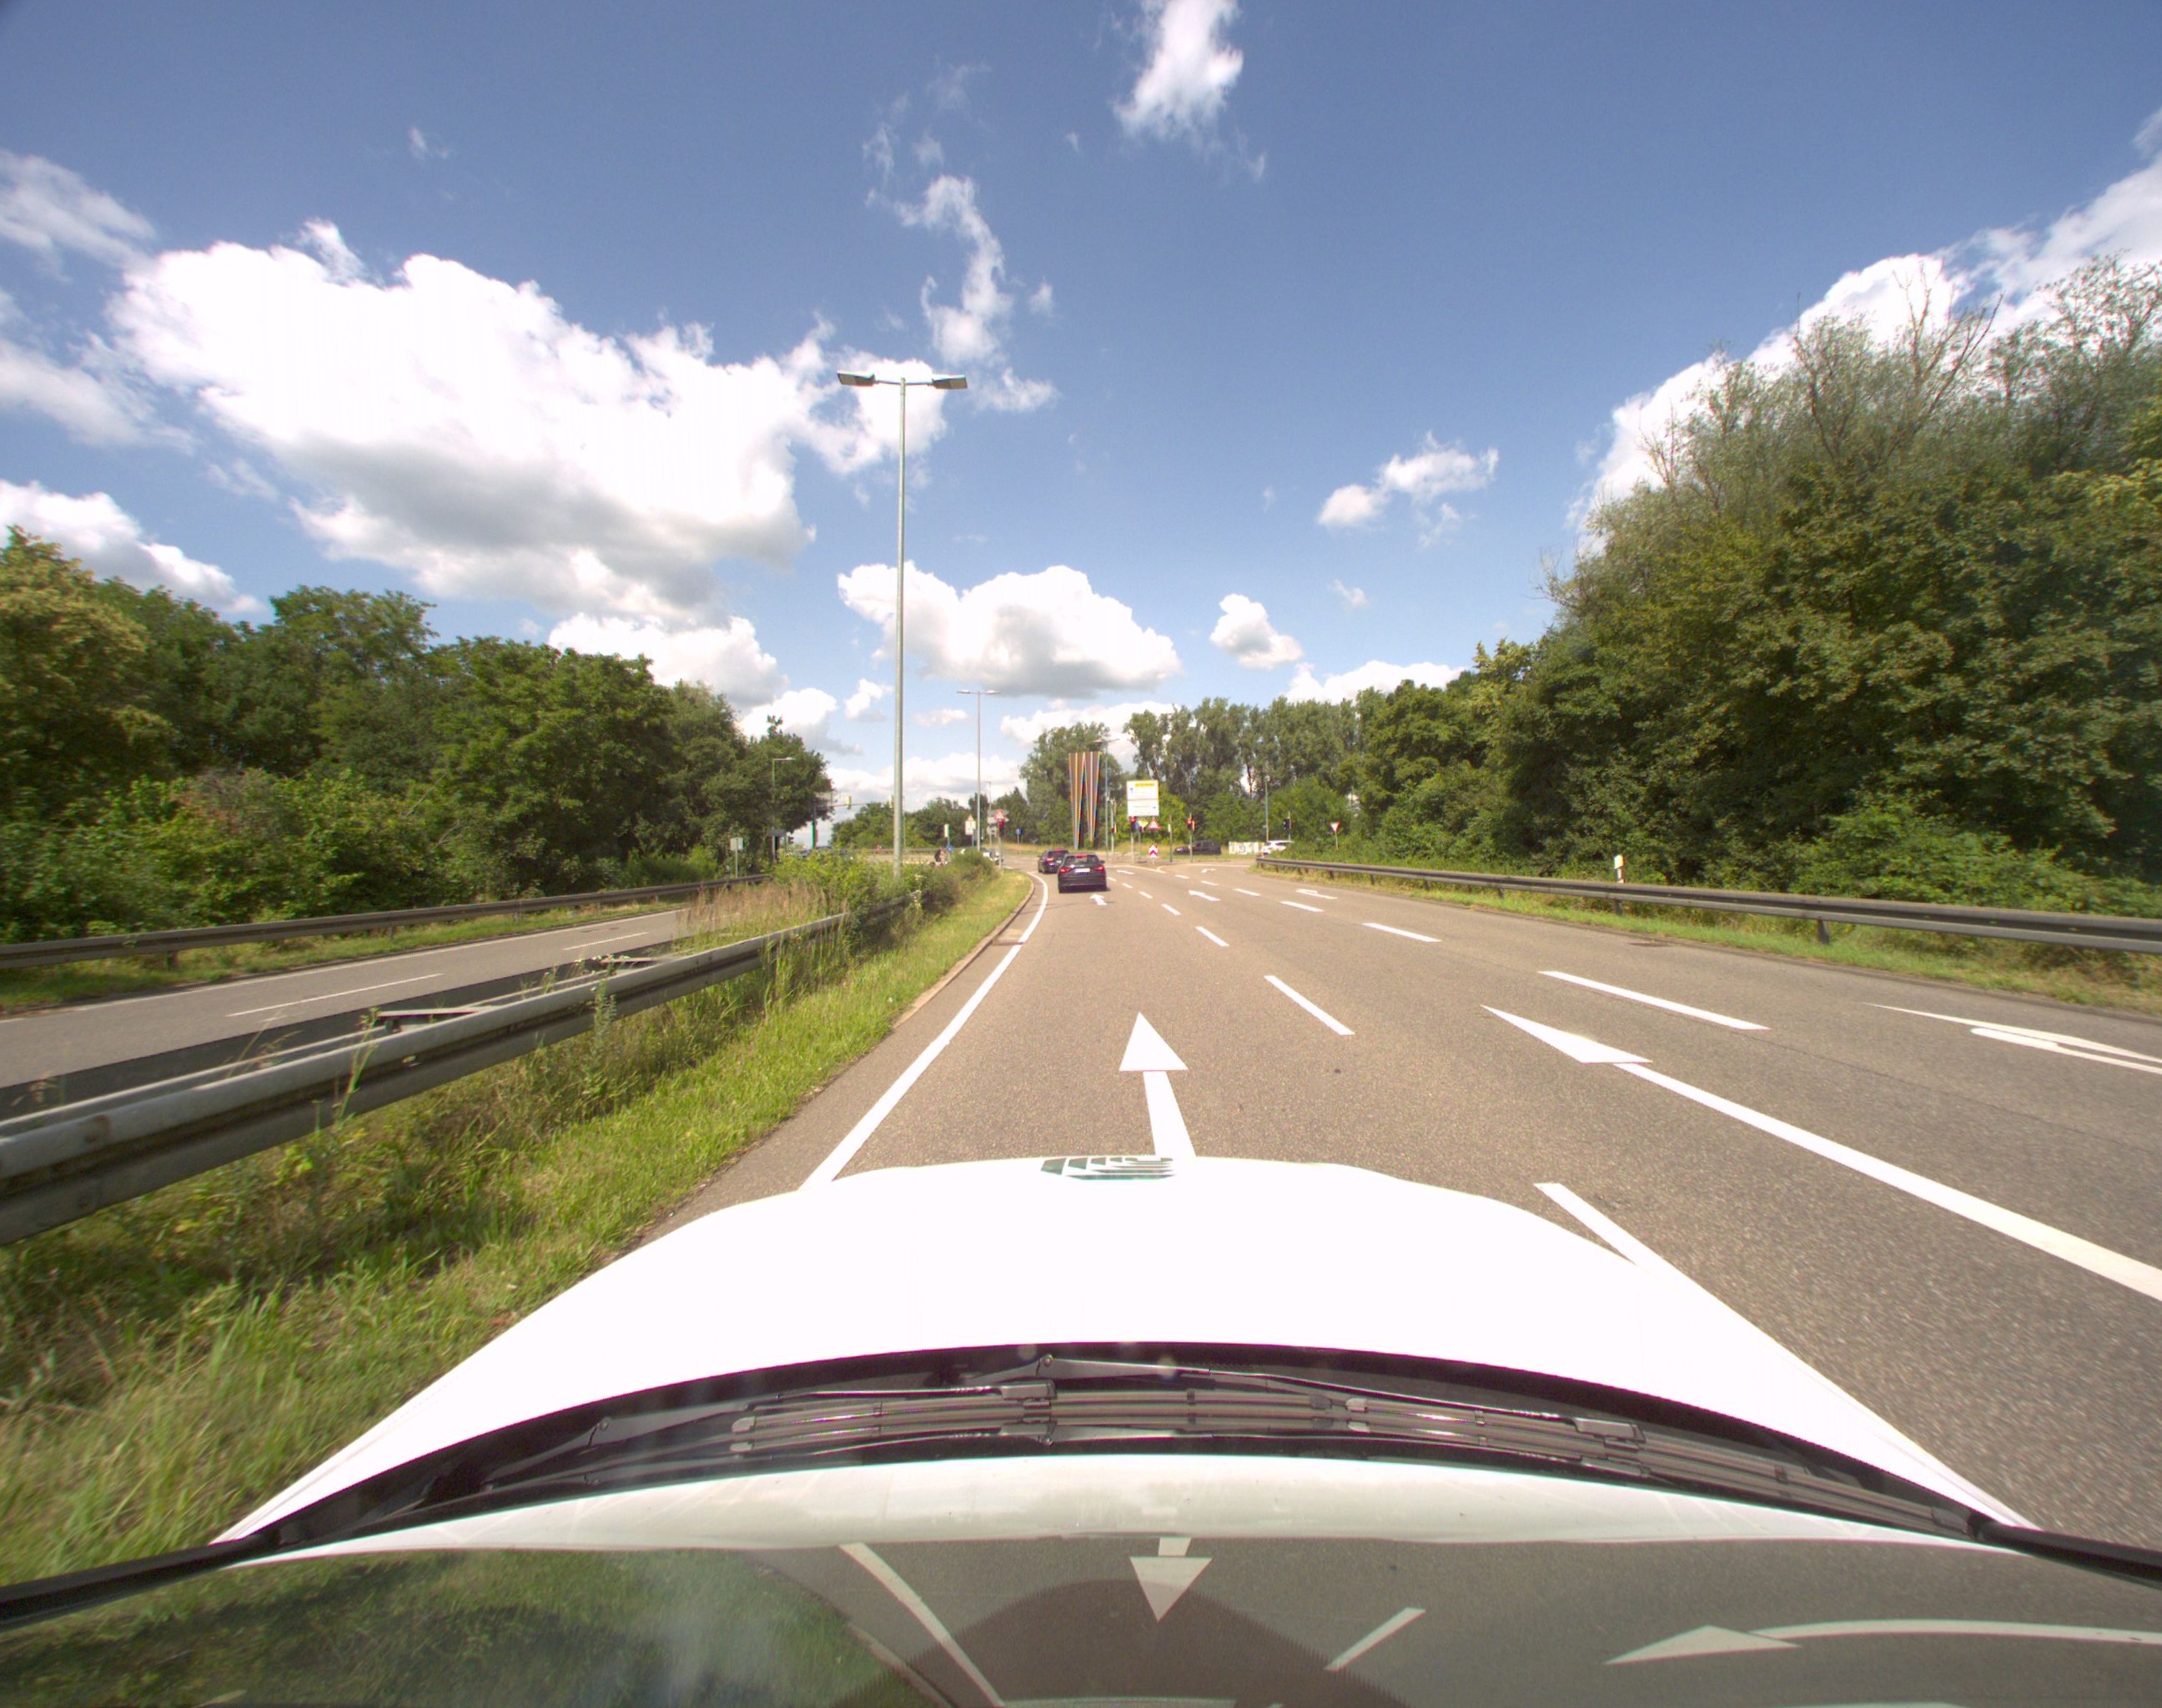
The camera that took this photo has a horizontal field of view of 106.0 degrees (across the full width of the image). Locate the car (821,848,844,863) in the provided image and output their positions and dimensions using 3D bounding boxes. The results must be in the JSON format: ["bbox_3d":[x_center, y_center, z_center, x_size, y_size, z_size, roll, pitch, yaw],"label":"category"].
[{"bbox_3d":[-26.078,0.120,85.375,1.740,1.476,4.014,-2,1,-25],"label":"car"}]

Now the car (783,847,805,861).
[{"bbox_3d":[-36.993,-0.014,104.953,1.855,1.705,4.285,-2,1,-30],"label":"car"}]

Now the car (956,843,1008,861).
[{"bbox_3d":[-8.308,-0.150,68.272,3.996,1.476,1.747,1,0,28],"label":"car"}]

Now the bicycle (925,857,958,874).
[{"bbox_3d":[-9.171,0.765,53.576,2.053,1.023,0.670,-1,0,-10],"label":"bicycle"}]

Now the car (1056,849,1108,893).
[{"bbox_3d":[-0.015,0.574,30.286,1.722,1.404,3.998,-4,1,-2],"label":"car"}]

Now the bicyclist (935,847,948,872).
[{"bbox_3d":[-9.191,0.353,53.574,0.834,1.560,0.670,-1,0,-10],"label":"bicyclist"}]

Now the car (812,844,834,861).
[{"bbox_3d":[-29.035,-0.126,91.478,1.852,1.802,4.291,-2,1,-25],"label":"car"}]

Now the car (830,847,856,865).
[{"bbox_3d":[-22.809,0.178,78.059,1.848,1.618,3.967,-2,0,-24],"label":"car"}]

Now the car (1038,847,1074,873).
[{"bbox_3d":[-1.569,0.340,49.208,1.725,1.423,3.834,-3,1,-8],"label":"car"}]

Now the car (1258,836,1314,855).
[{"bbox_3d":[16.803,-0.690,66.782,4.020,1.509,1.952,1,-1,-7],"label":"car"}]

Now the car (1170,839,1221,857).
[{"bbox_3d":[10.491,-0.546,74.761,4.261,1.545,1.734,-2,1,-5],"label":"car"}]
